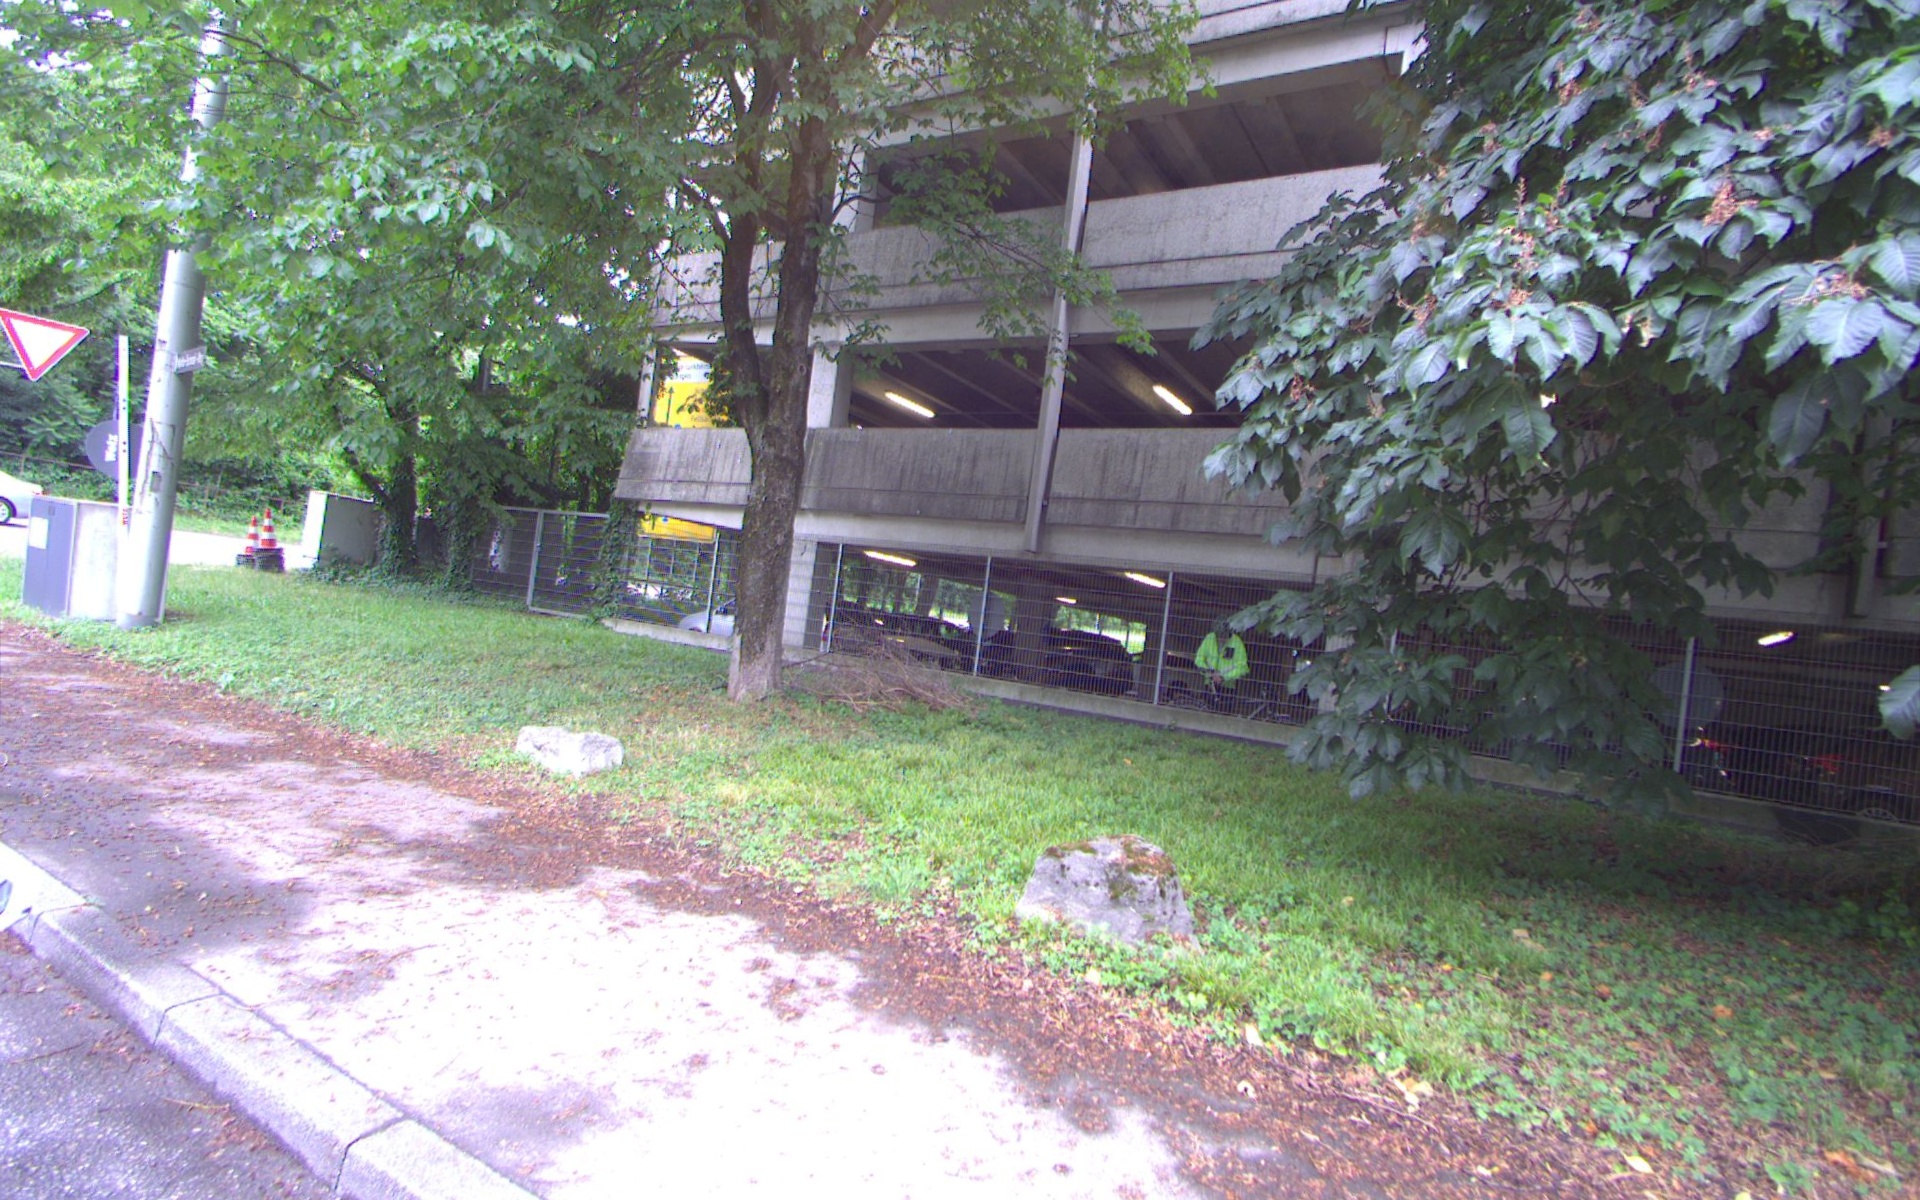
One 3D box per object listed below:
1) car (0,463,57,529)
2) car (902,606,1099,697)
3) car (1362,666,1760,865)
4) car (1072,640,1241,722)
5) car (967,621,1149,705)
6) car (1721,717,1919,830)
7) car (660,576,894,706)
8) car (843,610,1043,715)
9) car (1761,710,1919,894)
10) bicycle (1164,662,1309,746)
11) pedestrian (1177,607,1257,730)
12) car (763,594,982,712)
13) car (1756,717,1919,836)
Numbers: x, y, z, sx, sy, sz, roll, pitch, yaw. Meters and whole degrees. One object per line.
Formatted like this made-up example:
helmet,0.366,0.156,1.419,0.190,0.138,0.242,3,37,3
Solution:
car,-23.542,-2.705,22.341,1.802,1.349,4.763,10,-1,29
car,0.922,1.181,23.216,3.934,1.569,1.998,5,-3,32
car,8.619,2.290,14.835,4.597,2.036,1.998,5,-3,31
car,6.136,2.524,31.552,4.658,1.855,1.923,6,-3,33
car,2.433,1.576,25.152,3.934,1.569,1.998,5,-3,32
car,16.599,3.242,18.650,3.640,1.625,1.721,5,-3,30
car,-3.114,0.660,16.897,3.658,1.727,1.484,5,-3,32
car,-0.375,1.283,20.879,3.658,1.682,1.734,5,-3,32
car,12.669,2.654,12.467,3.935,2.036,1.998,5,-3,33
bicycle,3.117,1.165,11.378,1.469,0.744,0.448,6,-3,24
pedestrian,2.994,0.804,11.701,0.626,1.332,0.642,5,-3,31
car,-1.669,0.975,18.823,3.707,1.727,1.584,5,-3,32
car,15.609,2.990,16.516,3.640,1.625,1.721,5,-3,30
